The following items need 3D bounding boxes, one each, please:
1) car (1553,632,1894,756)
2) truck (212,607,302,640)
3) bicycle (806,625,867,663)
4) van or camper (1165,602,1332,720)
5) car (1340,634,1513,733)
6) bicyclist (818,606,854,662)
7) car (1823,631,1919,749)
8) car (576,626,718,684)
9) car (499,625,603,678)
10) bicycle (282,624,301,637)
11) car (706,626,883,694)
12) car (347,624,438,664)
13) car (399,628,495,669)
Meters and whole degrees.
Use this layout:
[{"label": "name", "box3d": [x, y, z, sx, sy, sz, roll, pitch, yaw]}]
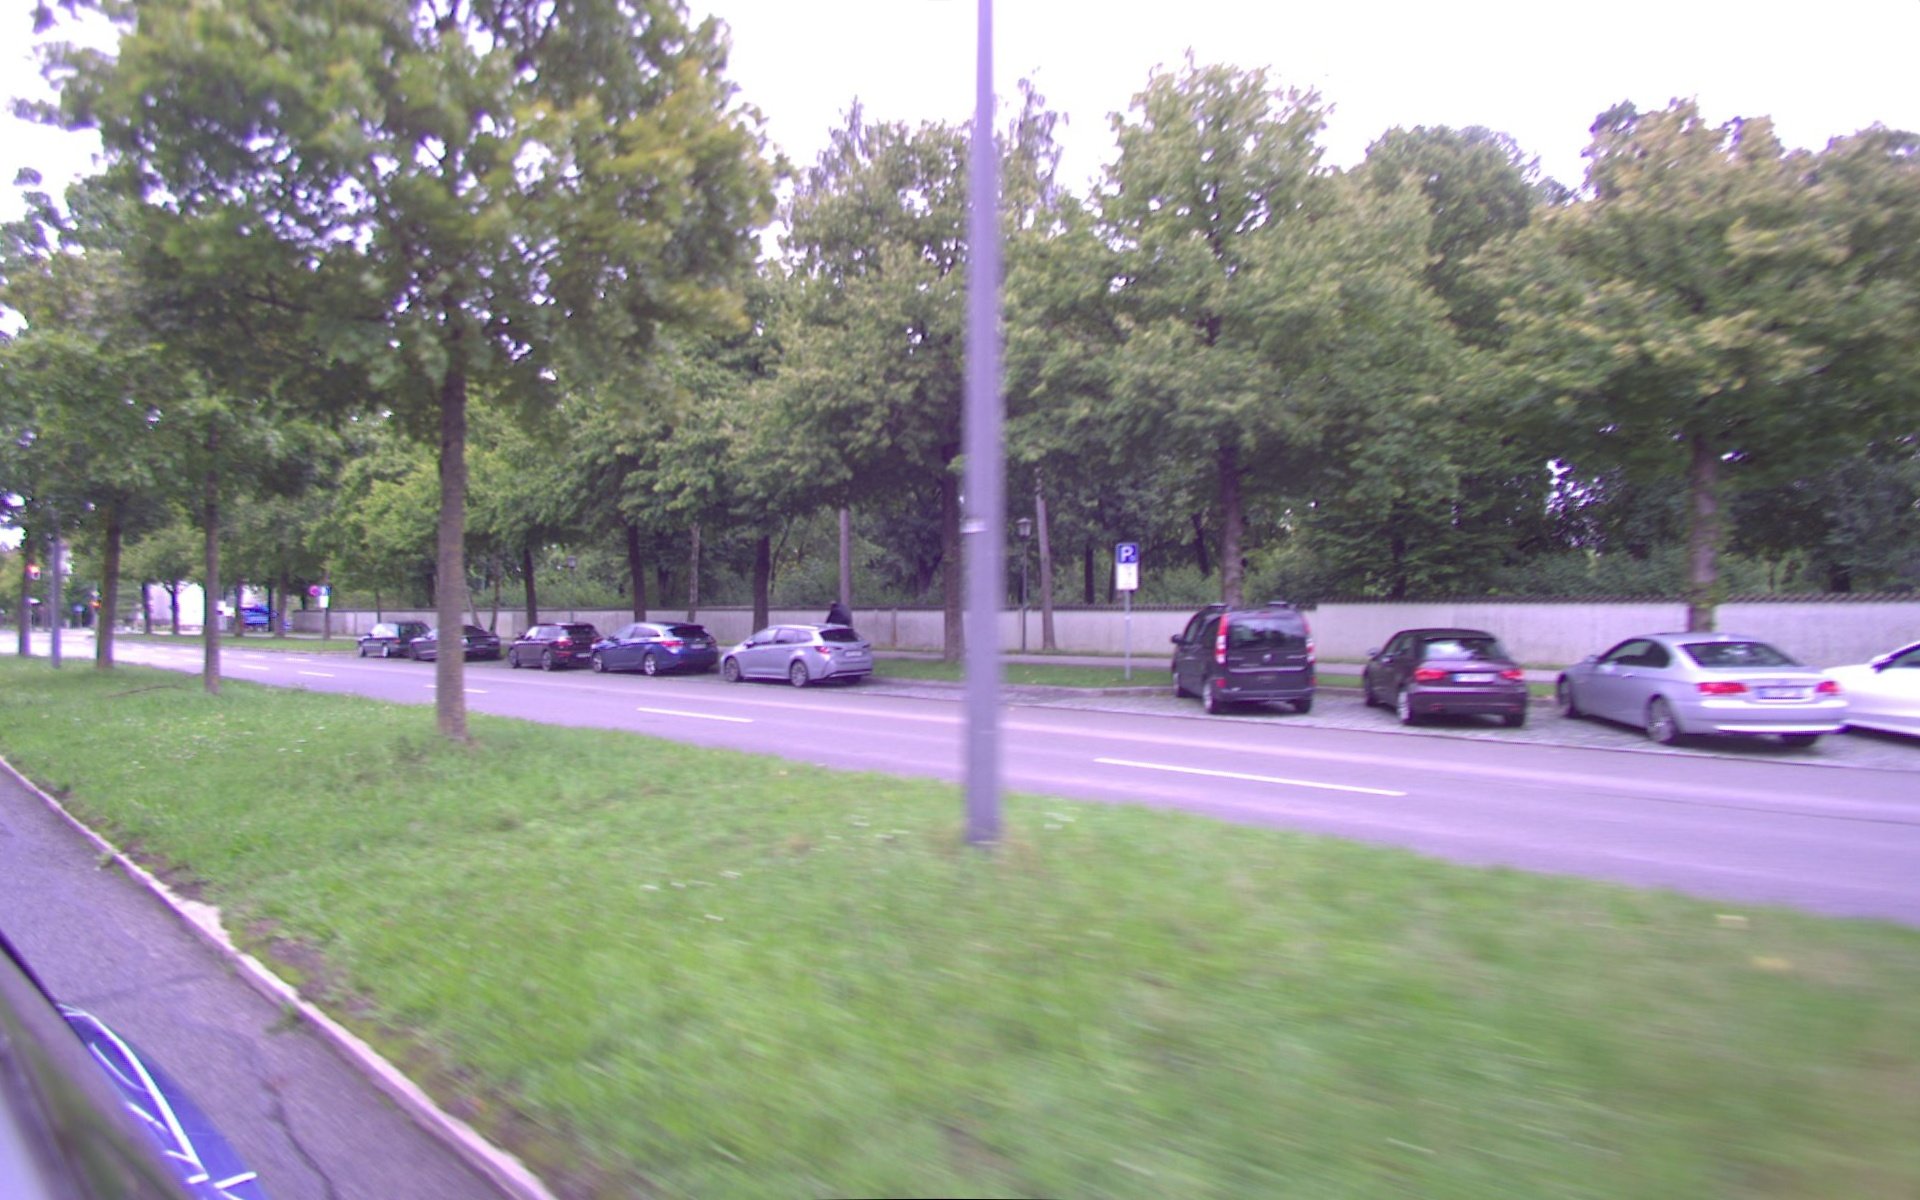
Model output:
[{"label": "car", "box3d": [9.876, 1.133, 13.556, 1.828, 1.364, 3.991, 0, -1, 7]}, {"label": "truck", "box3d": [-77.579, 2.564, 111.754, 2.772, 3.515, 7.714, -1, -2, 42]}, {"label": "bicycle", "box3d": [-3.967, 1.395, 32.346, 2.115, 1.170, 0.705, -1, -2, 42]}, {"label": "van or camper", "box3d": [5.019, 1.010, 18.221, 1.825, 1.869, 4.124, 0, -1, 1]}, {"label": "car", "box3d": [7.435, 1.264, 16.486, 1.735, 1.364, 3.568, -1, -1, 11]}, {"label": "bicyclist", "box3d": [-3.956, 1.092, 32.343, 0.922, 1.760, 0.697, -1, -2, 41]}, {"label": "car", "box3d": [12.341, 1.083, 11.616, 1.654, 1.392, 4.036, 0, -1, 6]}, {"label": "car", "box3d": [-9.027, 1.521, 28.973, 4.796, 1.470, 1.570, -1, 0, 41]}, {"label": "car", "box3d": [-13.096, 1.585, 32.296, 1.553, 1.514, 4.306, -1, 0, -44]}, {"label": "bicycle", "box3d": [-66.056, 3.017, 99.989, 2.494, 1.195, 0.827, -1, -2, 40]}, {"label": "car", "box3d": [-4.095, 1.390, 24.554, 4.808, 1.450, 1.618, -1, 0, 43]}, {"label": "car", "box3d": [-23.689, 1.793, 42.172, 4.913, 1.501, 1.780, -1, 0, 42]}, {"label": "car", "box3d": [-19.409, 1.783, 38.206, 4.705, 1.406, 1.642, -1, 0, 42]}]
